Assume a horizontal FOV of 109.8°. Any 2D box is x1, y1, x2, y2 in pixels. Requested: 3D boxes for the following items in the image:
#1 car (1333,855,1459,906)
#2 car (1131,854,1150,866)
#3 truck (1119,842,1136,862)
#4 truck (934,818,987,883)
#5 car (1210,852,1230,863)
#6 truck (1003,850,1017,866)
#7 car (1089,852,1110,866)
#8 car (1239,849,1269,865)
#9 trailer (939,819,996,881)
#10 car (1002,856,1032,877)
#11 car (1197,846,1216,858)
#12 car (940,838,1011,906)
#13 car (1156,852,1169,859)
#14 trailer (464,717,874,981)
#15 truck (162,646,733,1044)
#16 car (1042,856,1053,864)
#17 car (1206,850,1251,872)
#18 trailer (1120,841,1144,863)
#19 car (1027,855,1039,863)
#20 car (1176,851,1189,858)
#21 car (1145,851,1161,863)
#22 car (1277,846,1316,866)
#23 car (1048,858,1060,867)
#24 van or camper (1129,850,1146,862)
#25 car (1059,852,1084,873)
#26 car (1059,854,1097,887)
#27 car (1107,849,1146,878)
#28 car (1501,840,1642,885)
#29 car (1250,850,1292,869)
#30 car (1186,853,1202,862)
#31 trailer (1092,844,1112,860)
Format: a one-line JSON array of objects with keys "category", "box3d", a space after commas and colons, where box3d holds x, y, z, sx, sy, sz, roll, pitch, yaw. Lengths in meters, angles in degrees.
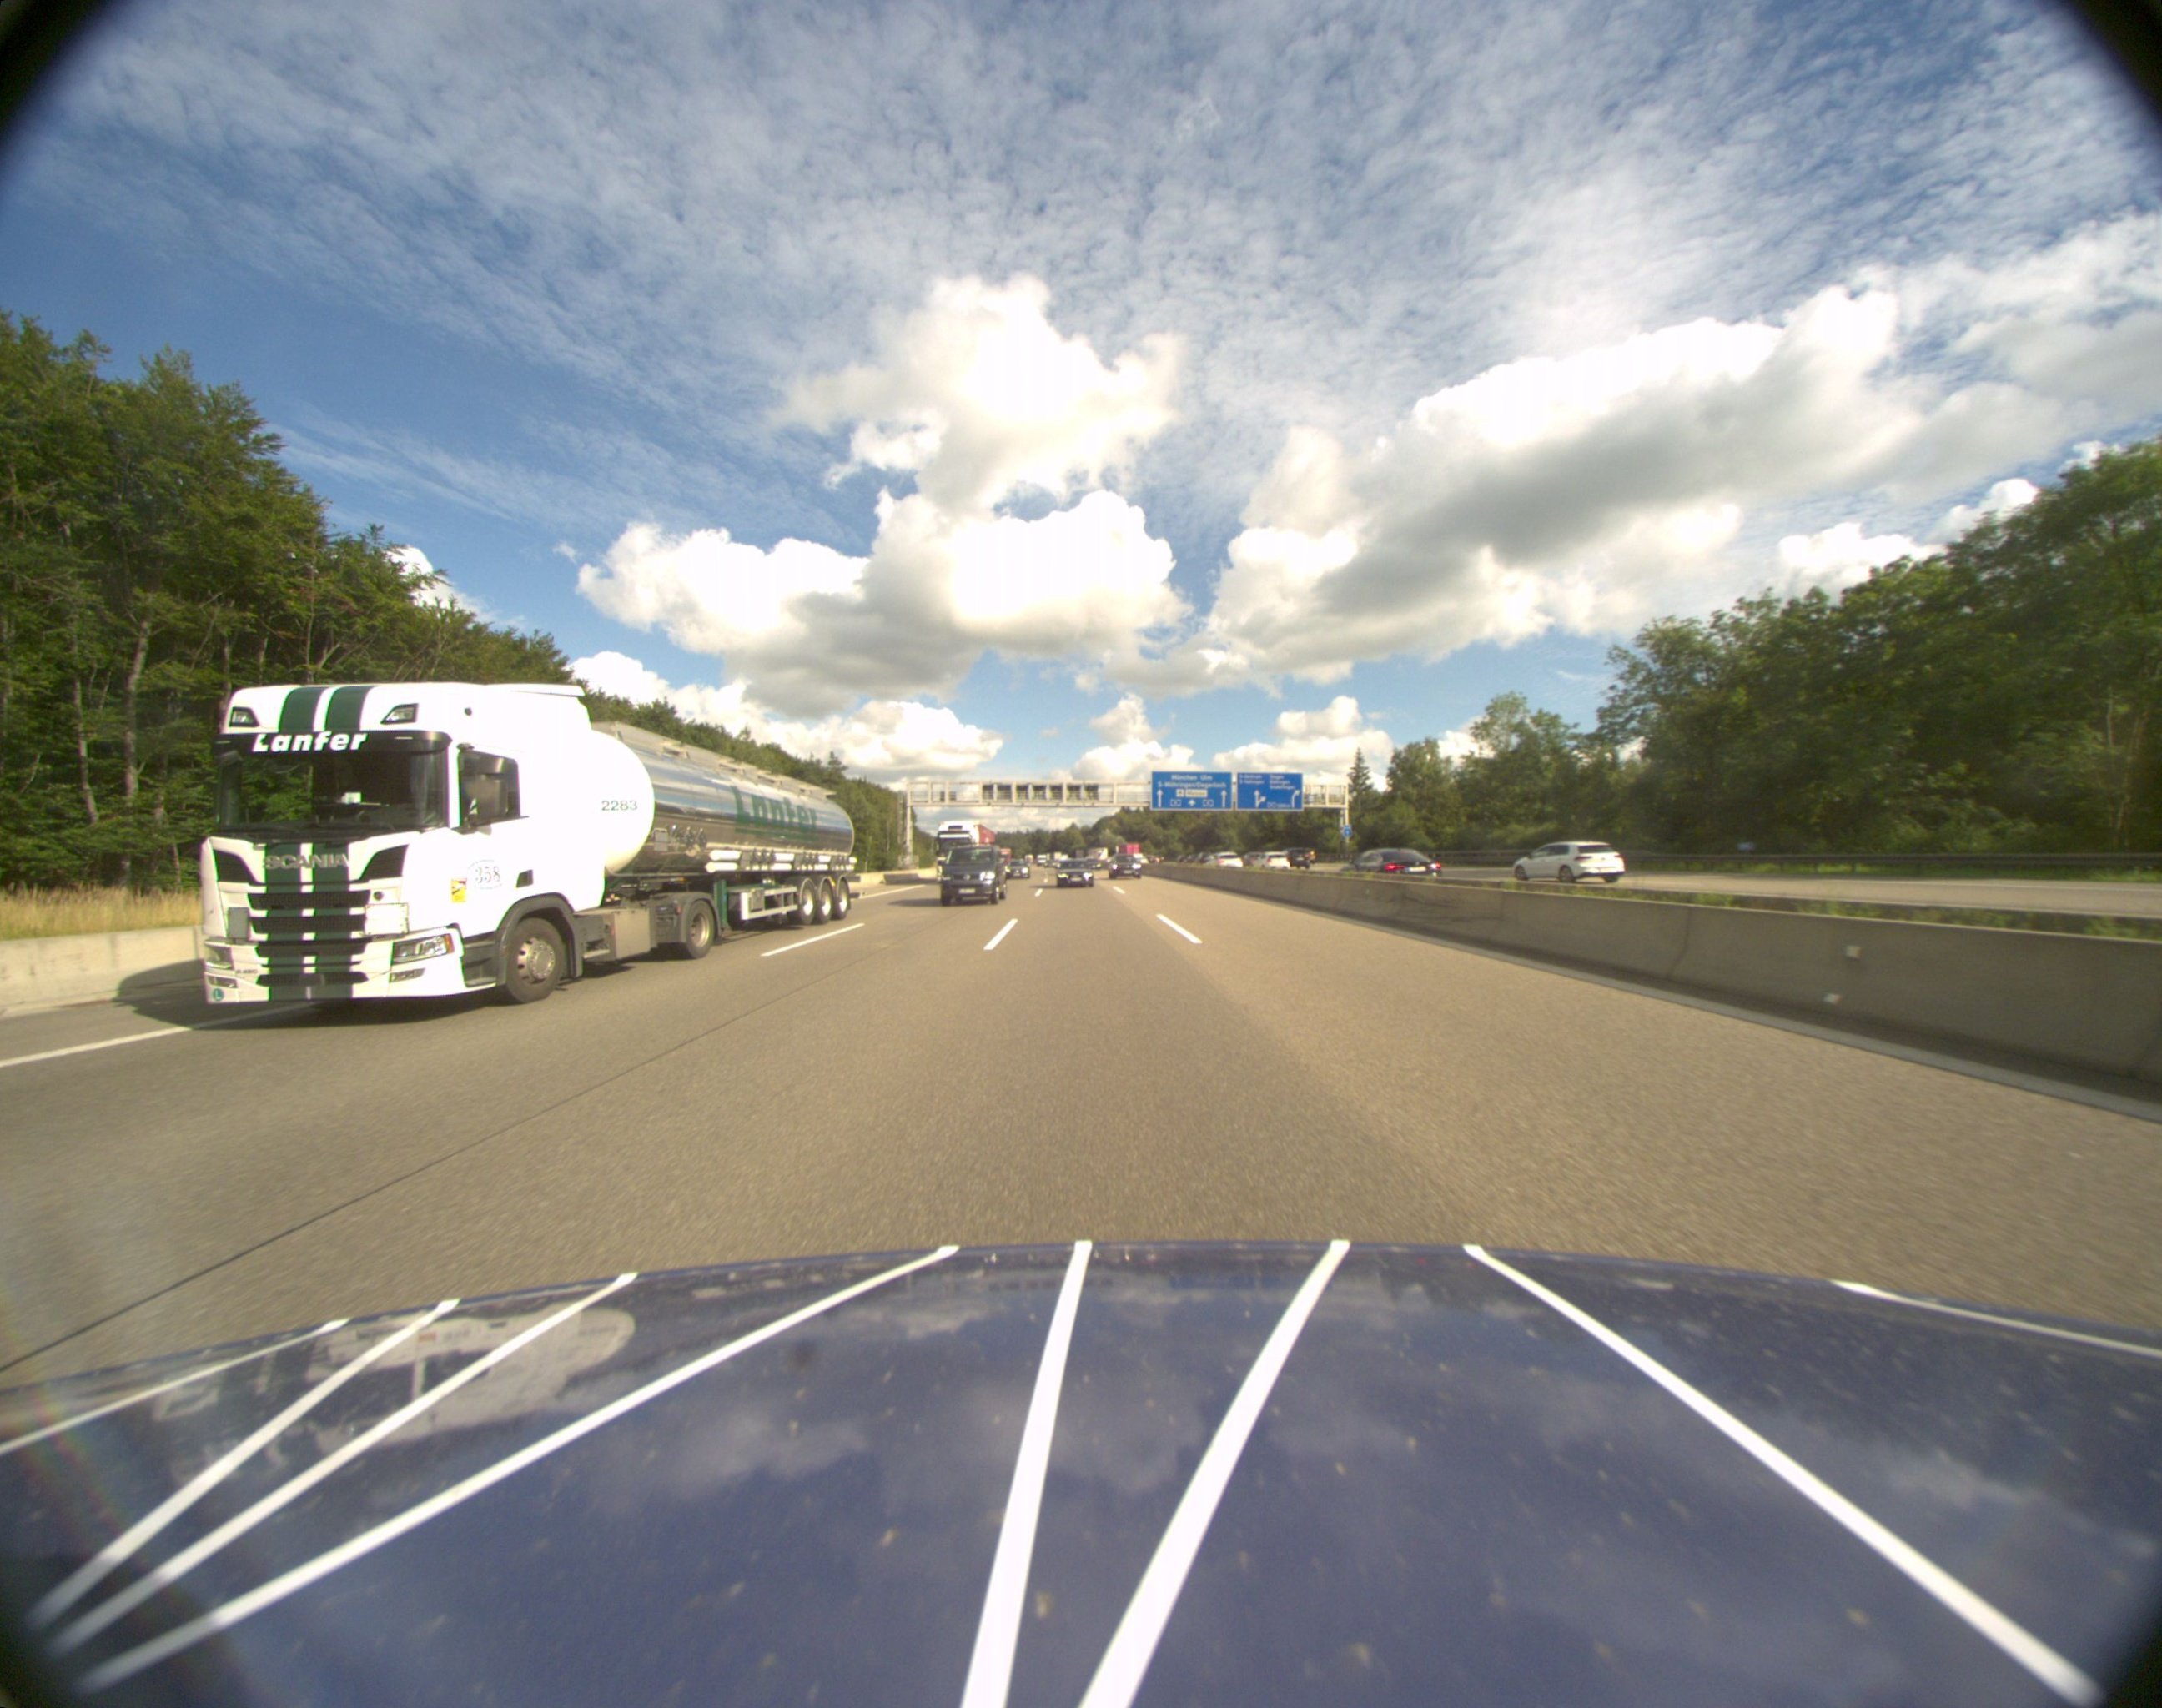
[{"category": "car", "box3d": [9.903, 0.780, 24.361, 1.999, 1.382, 4.747, -2, 0, -1]}, {"category": "car", "box3d": [7.302, 0.736, 94.002, 1.728, 1.302, 4.880, -2, 0, -3]}, {"category": "truck", "box3d": [9.841, -0.407, 161.935, 2.747, 4.082, 5.762, -2, 0, -4]}, {"category": "truck", "box3d": [-7.932, -0.230, 50.617, 2.781, 4.021, 5.771, -2, 0, -3]}, {"category": "car", "box3d": [21.532, 0.500, 117.993, 1.821, 1.536, 5.129, -2, 0, -3]}, {"category": "truck", "box3d": [-16.608, 0.975, 176.515, 3.020, 3.662, 7.556, -1, 0, -7]}, {"category": "car", "box3d": [2.106, 0.532, 88.104, 2.153, 1.540, 4.676, -2, 0, -2]}, {"category": "car", "box3d": [16.029, 0.247, 70.607, 1.641, 1.346, 3.999, -2, 0, -3]}, {"category": "trailer", "box3d": [-8.262, -0.224, 57.114, 2.781, 4.021, 13.709, -2, 0, -3]}, {"category": "car", "box3d": [-4.877, 0.942, 58.628, 2.153, 1.426, 5.097, -2, 0, -3]}, {"category": "car", "box3d": [17.397, -0.242, 105.433, 1.671, 1.630, 4.478, -2, 0, -1]}, {"category": "car", "box3d": [-3.595, 0.562, 26.769, 1.854, 2.097, 4.931, -2, 0, -1]}, {"category": "car", "box3d": [15.636, 0.203, 145.497, 1.706, 1.280, 3.995, -2, 0, -4]}, {"category": "trailer", "box3d": [-7.523, -0.060, 16.839, 2.656, 3.745, 11.859, -1, 0, 0]}, {"category": "truck", "box3d": [-7.487, -0.079, 10.368, 2.656, 3.801, 6.081, -1, 0, 0]}, {"category": "car", "box3d": [-7.445, 1.306, 168.473, 2.154, 1.806, 4.674, -2, 0, -7]}, {"category": "car", "box3d": [9.821, 0.448, 50.971, 1.999, 1.301, 4.831, -2, 0, -1]}, {"category": "trailer", "box3d": [10.350, -0.394, 155.369, 2.747, 4.082, 13.410, -2, 0, -4]}, {"category": "car", "box3d": [-9.075, 0.904, 144.601, 2.153, 1.540, 4.675, -1, 0, -4]}, {"category": "car", "box3d": [18.999, 0.130, 142.364, 1.706, 1.280, 4.181, -2, 0, -4]}, {"category": "car", "box3d": [10.311, 0.439, 109.014, 1.703, 1.620, 4.497, -2, 0, -3]}, {"category": "car", "box3d": [17.118, 0.175, 60.589, 1.726, 1.470, 4.629, -2, 0, -1]}, {"category": "car", "box3d": [-4.817, 1.561, 135.141, 2.153, 1.540, 4.675, -1, 0, -3]}, {"category": "van or camper", "box3d": [9.026, 0.358, 122.064, 1.867, 1.839, 5.153, -2, 0, -4]}, {"category": "car", "box3d": [-0.898, 0.740, 69.503, 2.153, 1.800, 5.098, -2, 0, -1]}, {"category": "car", "box3d": [-0.180, 0.811, 38.778, 1.733, 1.501, 4.727, -2, 0, -1]}, {"category": "car", "box3d": [2.925, 0.581, 50.052, 2.153, 1.800, 5.098, -2, 0, -1]}, {"category": "car", "box3d": [17.696, 0.274, 27.737, 2.077, 1.464, 4.671, -2, 0, 0]}, {"category": "car", "box3d": [13.094, 0.388, 52.693, 1.651, 1.193, 4.439, -2, 0, -2]}, {"category": "car", "box3d": [19.353, 0.532, 130.183, 1.706, 1.432, 4.706, -2, 0, -4]}, {"category": "trailer", "box3d": [5.491, -0.485, 203.727, 3.328, 4.082, 14.147, -2, 0, -6]}]
